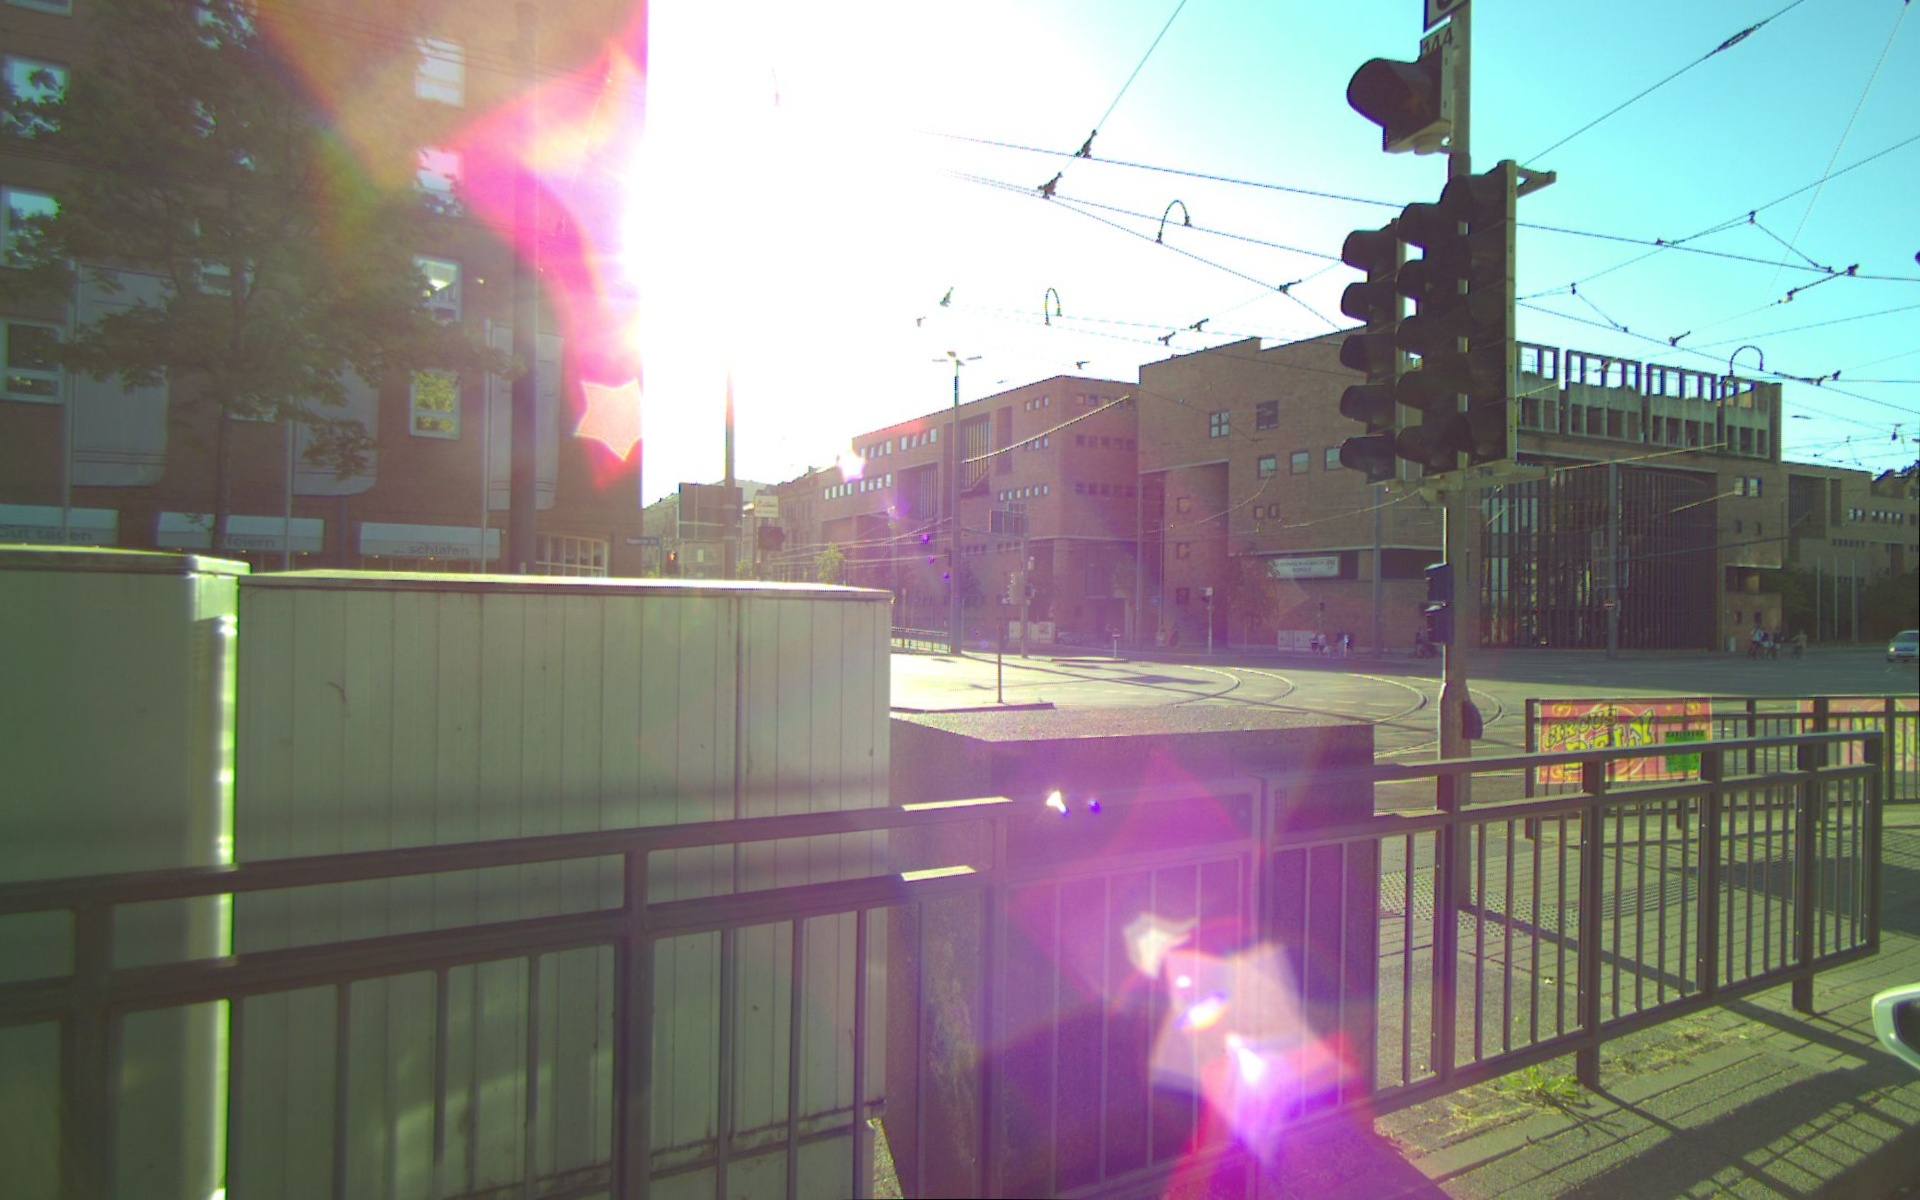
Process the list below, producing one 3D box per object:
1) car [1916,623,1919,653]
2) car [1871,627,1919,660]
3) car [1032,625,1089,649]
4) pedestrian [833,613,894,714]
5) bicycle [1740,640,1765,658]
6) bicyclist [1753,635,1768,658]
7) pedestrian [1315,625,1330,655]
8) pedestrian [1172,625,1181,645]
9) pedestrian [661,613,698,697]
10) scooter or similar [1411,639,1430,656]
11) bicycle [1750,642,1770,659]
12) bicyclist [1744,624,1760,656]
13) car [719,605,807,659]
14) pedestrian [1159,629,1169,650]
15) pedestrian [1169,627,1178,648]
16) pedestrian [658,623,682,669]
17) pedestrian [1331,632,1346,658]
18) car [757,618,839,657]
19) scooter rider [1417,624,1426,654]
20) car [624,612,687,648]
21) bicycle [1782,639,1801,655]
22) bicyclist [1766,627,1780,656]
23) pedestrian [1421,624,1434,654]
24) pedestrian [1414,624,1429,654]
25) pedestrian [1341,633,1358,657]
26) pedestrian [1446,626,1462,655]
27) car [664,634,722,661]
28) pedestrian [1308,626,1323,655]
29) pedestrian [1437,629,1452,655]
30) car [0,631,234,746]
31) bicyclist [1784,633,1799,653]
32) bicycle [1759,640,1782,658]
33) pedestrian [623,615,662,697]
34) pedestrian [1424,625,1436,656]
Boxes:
[{"bbox_3d":[55.254,2.108,55.899,3.954,1.661,1.983,1,-2,-31],"label":"car"},{"bbox_3d":[48.985,2.221,51.785,3.954,1.661,1.983,1,-2,-31],"label":"car"},{"bbox_3d":[6.990,2.547,69.871,1.986,1.595,3.680,1,-2,-38],"label":"car"},{"bbox_3d":[-1.664,1.059,17.211,0.709,1.669,0.953,1,-1,-30],"label":"pedestrian"},{"bbox_3d":[44.492,2.763,56.387,1.568,0.976,0.539,1,-1,-30],"label":"bicycle"},{"bbox_3d":[46.694,2.707,58.608,0.574,1.321,0.503,1,-1,-30],"label":"bicyclist"},{"bbox_3d":[20.583,2.271,57.066,0.541,1.670,0.598,1,-1,-23],"label":"pedestrian"},{"bbox_3d":[15.777,2.515,73.196,0.549,1.445,0.556,0,-1,1],"label":"pedestrian"},{"bbox_3d":[-6.439,1.245,23.020,0.647,1.864,0.835,1,-1,-28],"label":"pedestrian"},{"bbox_3d":[25.380,2.634,55.379,0.931,0.911,0.176,0,-1,14],"label":"scooter or similar"},{"bbox_3d":[46.698,2.934,58.608,1.304,0.976,0.465,1,-1,-30],"label":"bicycle"},{"bbox_3d":[44.455,2.248,56.361,0.574,1.754,0.534,1,-1,-30],"label":"bicyclist"},{"bbox_3d":[-9.470,1.511,47.980,1.982,2.419,5.156,1,-2,-38],"label":"car"},{"bbox_3d":[14.872,2.898,73.352,0.524,1.482,0.590,1,-1,-11],"label":"pedestrian"},{"bbox_3d":[15.111,2.639,71.072,0.463,1.482,0.505,1,-1,-37],"label":"pedestrian"},{"bbox_3d":[-10.547,1.674,36.559,0.658,1.669,0.638,1,-1,-34],"label":"pedestrian"},{"bbox_3d":[21.833,2.597,57.943,0.610,1.473,0.562,1,-2,-44],"label":"pedestrian"},{"bbox_3d":[-8.399,1.903,51.783,1.982,1.928,5.156,1,-2,-38],"label":"car"},{"bbox_3d":[25.429,2.157,55.383,0.429,1.669,0.229,0,-1,15],"label":"scooter rider"},{"bbox_3d":[-18.651,1.800,61.396,1.982,2.122,5.156,1,-2,-38],"label":"car"},{"bbox_3d":[49.244,2.784,59.501,1.332,0.976,0.449,1,-1,-30],"label":"bicycle"},{"bbox_3d":[45.077,2.299,55.685,0.574,1.624,0.456,1,-1,-30],"label":"bicyclist"},{"bbox_3d":[27.243,2.277,58.582,0.538,1.706,0.574,0,-1,10],"label":"pedestrian"},{"bbox_3d":[26.344,2.227,57.334,0.609,1.706,0.651,0,-1,12],"label":"pedestrian"},{"bbox_3d":[21.929,2.541,56.615,0.670,1.357,0.603,1,-1,-14],"label":"pedestrian"},{"bbox_3d":[28.418,2.318,57.795,0.605,1.647,0.613,0,-1,6],"label":"pedestrian"},{"bbox_3d":[-14.370,2.534,53.947,1.729,1.372,3.960,1,-2,-36],"label":"car"},{"bbox_3d":[20.490,2.342,57.850,0.582,1.635,0.594,1,-1,-28],"label":"pedestrian"},{"bbox_3d":[27.539,2.374,57.119,0.588,1.440,0.642,0,-1,1],"label":"pedestrian"},{"bbox_3d":[-13.001,1.198,14.157,4.256,1.508,1.748,1,-2,-29],"label":"car"},{"bbox_3d":[49.253,2.560,59.488,0.574,1.194,0.503,1,-1,-30],"label":"bicyclist"},{"bbox_3d":[44.975,2.722,55.703,1.557,0.976,0.470,1,-1,-30],"label":"bicycle"},{"bbox_3d":[-7.322,1.280,23.149,0.713,1.837,0.904,1,-1,-28],"label":"pedestrian"},{"bbox_3d":[26.242,2.259,56.098,0.540,1.706,0.592,0,-1,20],"label":"pedestrian"}]
